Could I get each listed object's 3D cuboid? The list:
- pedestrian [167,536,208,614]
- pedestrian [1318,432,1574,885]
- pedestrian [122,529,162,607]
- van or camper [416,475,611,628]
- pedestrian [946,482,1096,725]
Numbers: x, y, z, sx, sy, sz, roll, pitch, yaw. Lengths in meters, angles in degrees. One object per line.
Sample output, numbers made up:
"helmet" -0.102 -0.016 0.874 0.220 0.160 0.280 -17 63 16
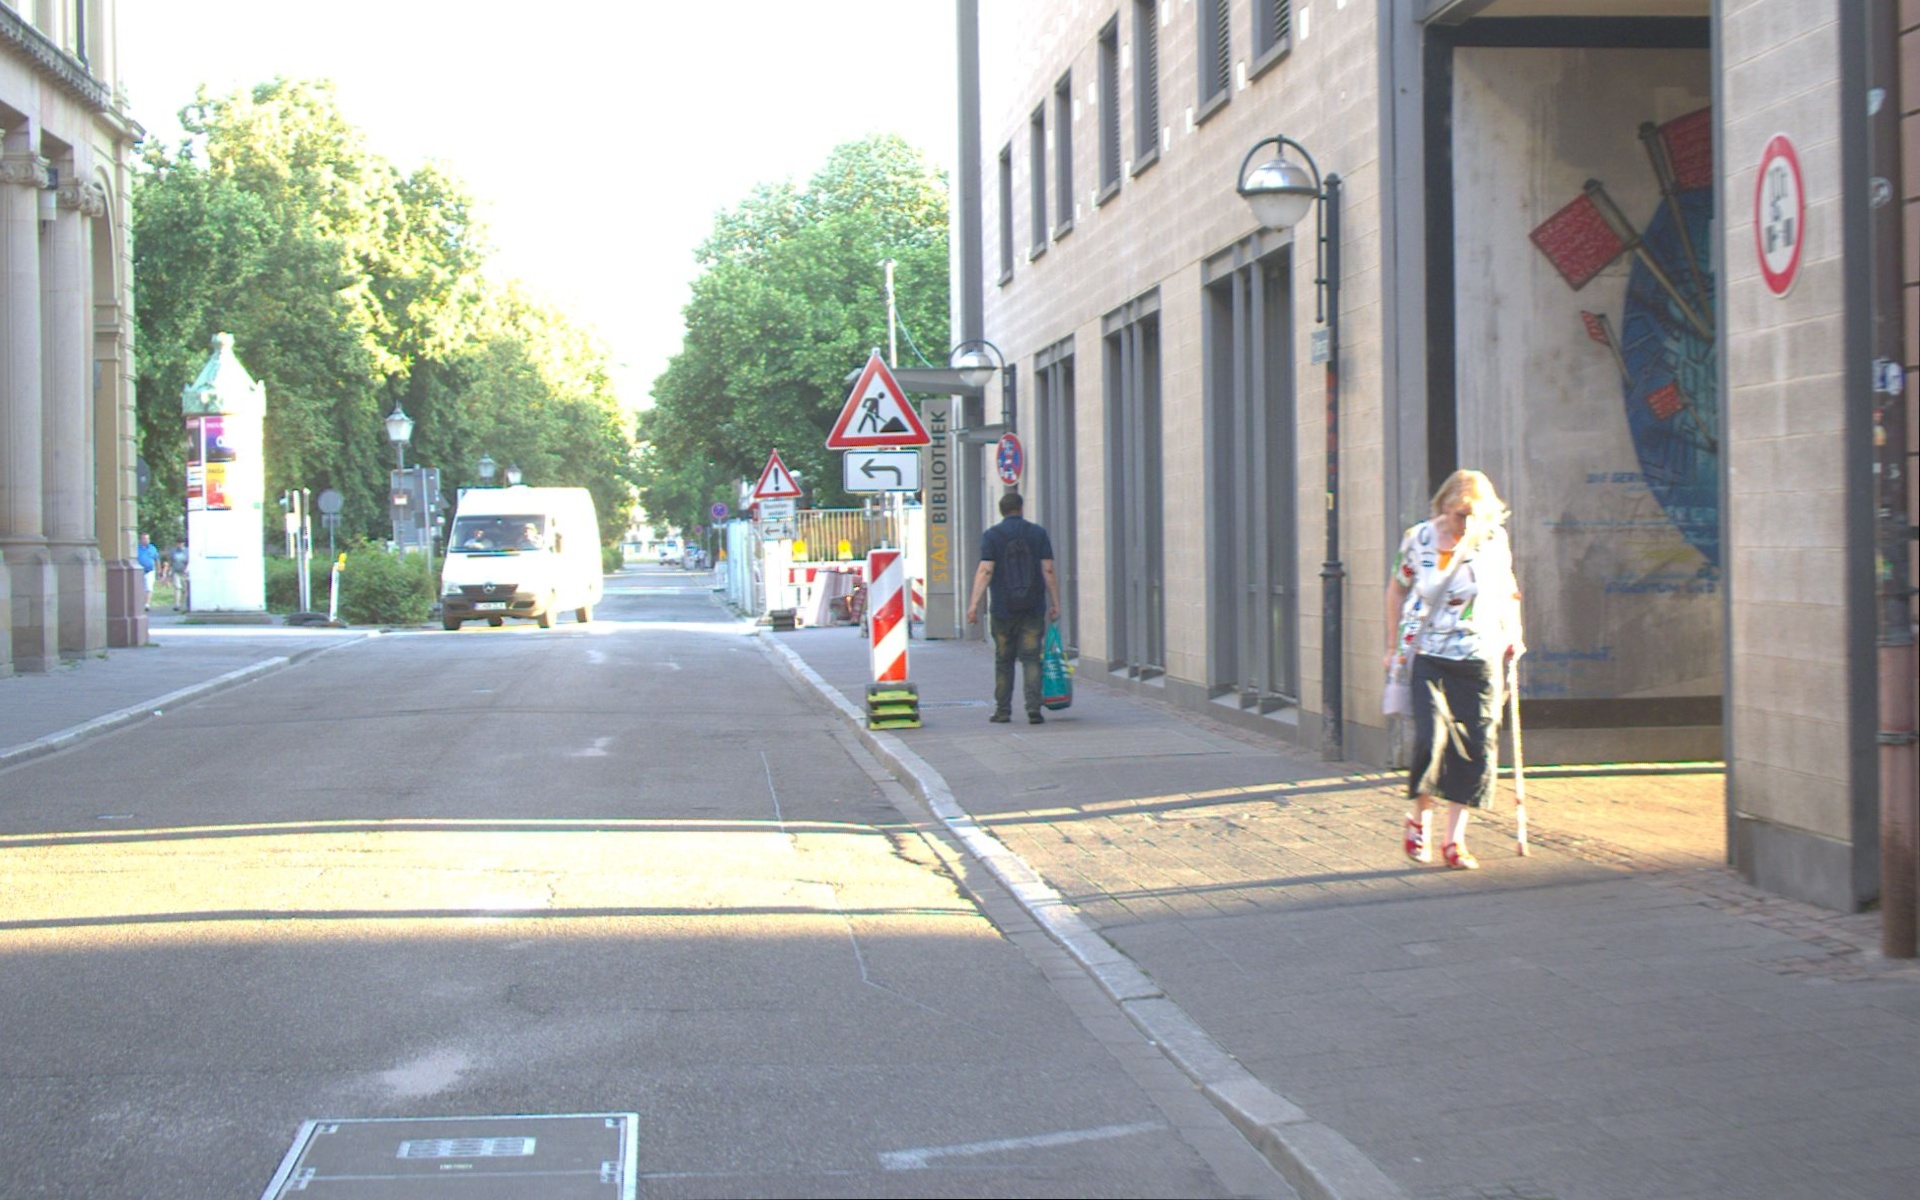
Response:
"pedestrian" -17.874 -0.590 79.552 0.849 1.801 0.664 0 1 -18
"pedestrian" 2.027 0.232 14.452 0.845 1.797 0.897 -3 1 0
"pedestrian" -18.840 -0.739 79.168 0.849 1.801 0.664 0 1 -18
"van or camper" -7.905 -0.891 61.581 2.219 2.576 6.371 0 1 4
"pedestrian" 0.459 0.023 26.361 1.000 1.797 0.882 -2 0 -6
